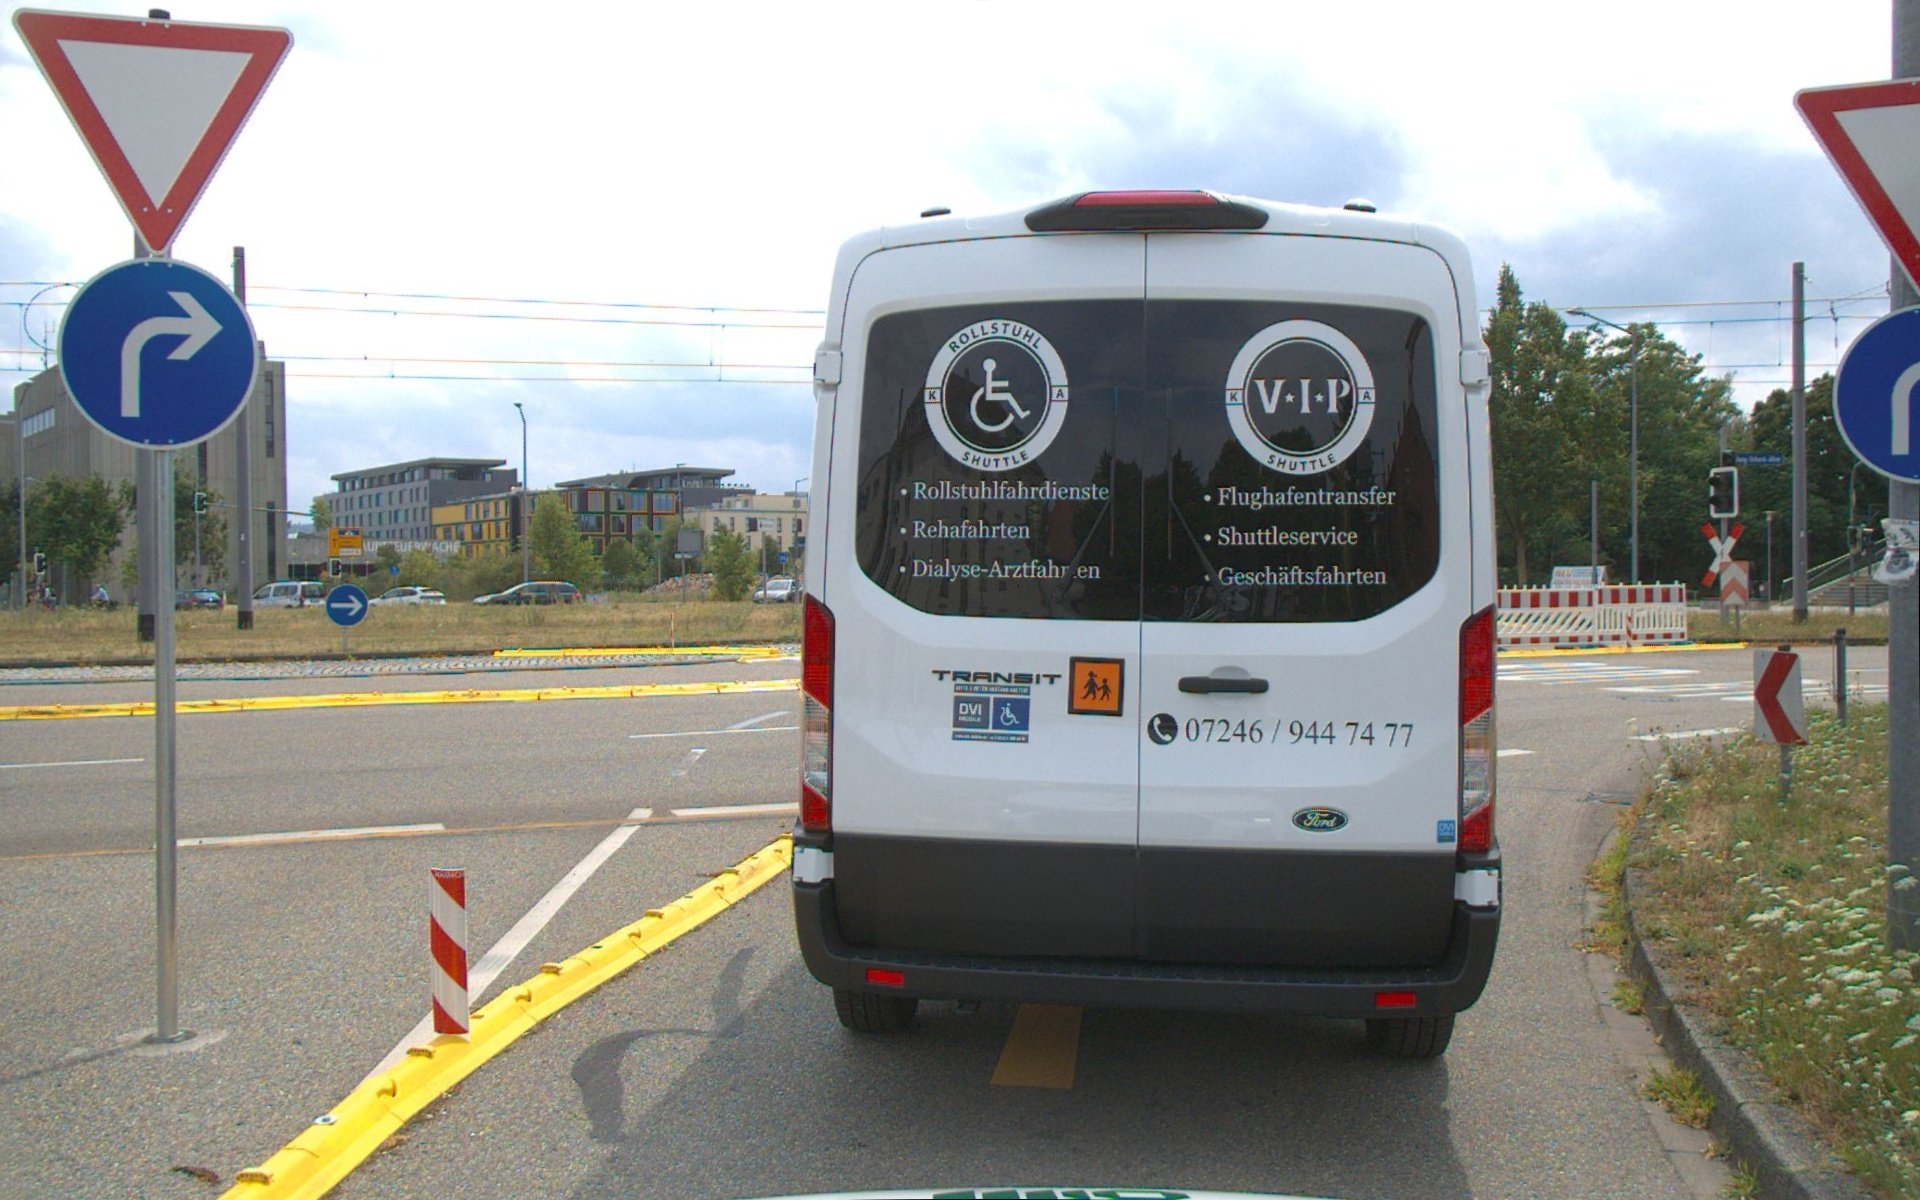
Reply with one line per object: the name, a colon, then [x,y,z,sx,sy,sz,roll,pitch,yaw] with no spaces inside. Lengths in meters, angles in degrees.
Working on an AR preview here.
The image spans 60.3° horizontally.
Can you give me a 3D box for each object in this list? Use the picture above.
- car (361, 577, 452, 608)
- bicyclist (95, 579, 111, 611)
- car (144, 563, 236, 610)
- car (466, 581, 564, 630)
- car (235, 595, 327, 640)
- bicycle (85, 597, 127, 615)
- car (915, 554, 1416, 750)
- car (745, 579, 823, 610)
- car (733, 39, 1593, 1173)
car: [-26.813,-0.367,80.083,3.904,1.489,1.833,0,-1,21]
bicyclist: [-42.492,-0.253,81.993,0.639,1.585,0.527,-1,1,-21]
car: [-34.377,-0.596,73.818,3.917,2.049,1.994,0,-1,34]
car: [-19.428,0.250,72.176,3.930,2.049,1.987,1,-1,-22]
car: [-31.859,0.807,77.587,4.271,2.049,1.994,0,-1,34]
bicycle: [-42.363,0.292,82.038,1.803,0.892,0.527,-1,1,-22]
car: [1.984,0.381,15.573,4.417,1.578,2.042,-1,1,-32]
car: [-8.846,-0.285,83.397,1.796,1.489,3.987,0,0,34]
car: [0.669,-0.008,6.875,2.081,2.744,5.635,0,1,4]
